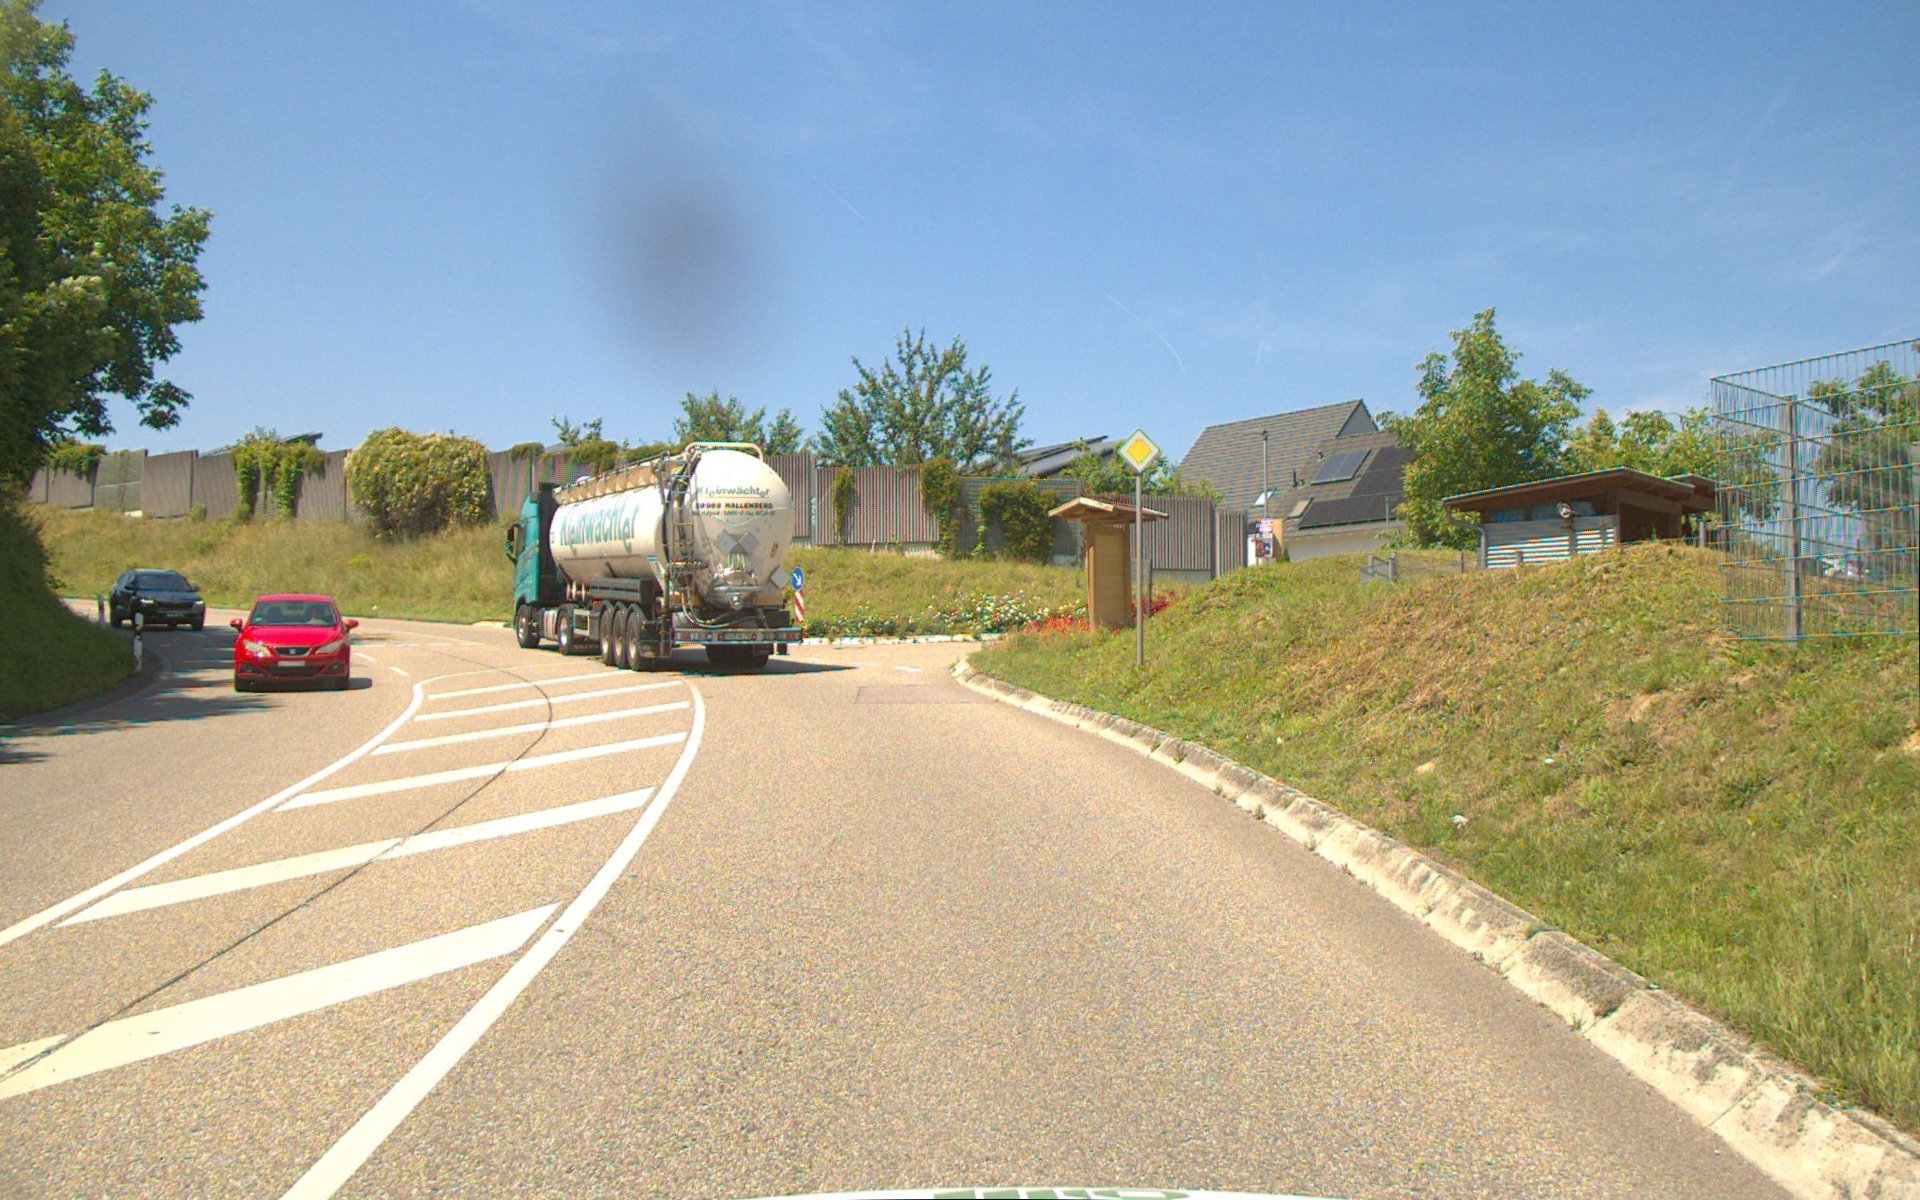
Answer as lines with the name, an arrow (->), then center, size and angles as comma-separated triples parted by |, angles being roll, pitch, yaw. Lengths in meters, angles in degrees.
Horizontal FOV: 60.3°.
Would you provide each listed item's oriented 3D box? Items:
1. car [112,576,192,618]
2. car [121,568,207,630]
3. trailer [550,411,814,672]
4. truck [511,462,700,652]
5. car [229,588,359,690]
car -> -32.851, -0.137, 67.211 | 3.573, 1.536, 1.643 | 2, -2, 41
car -> -22.879, -0.063, 47.485 | 1.774, 1.633, 4.134 | -1, 2, -32
trailer -> -5.952, -1.031, 33.096 | 2.625, 4.261, 11.821 | 0, 1, -23
truck -> -8.434, -0.925, 38.661 | 2.694, 3.998, 7.203 | 0, 0, -26
car -> -10.647, 0.565, 26.645 | 1.724, 1.473, 3.978 | -1, 1, -19
